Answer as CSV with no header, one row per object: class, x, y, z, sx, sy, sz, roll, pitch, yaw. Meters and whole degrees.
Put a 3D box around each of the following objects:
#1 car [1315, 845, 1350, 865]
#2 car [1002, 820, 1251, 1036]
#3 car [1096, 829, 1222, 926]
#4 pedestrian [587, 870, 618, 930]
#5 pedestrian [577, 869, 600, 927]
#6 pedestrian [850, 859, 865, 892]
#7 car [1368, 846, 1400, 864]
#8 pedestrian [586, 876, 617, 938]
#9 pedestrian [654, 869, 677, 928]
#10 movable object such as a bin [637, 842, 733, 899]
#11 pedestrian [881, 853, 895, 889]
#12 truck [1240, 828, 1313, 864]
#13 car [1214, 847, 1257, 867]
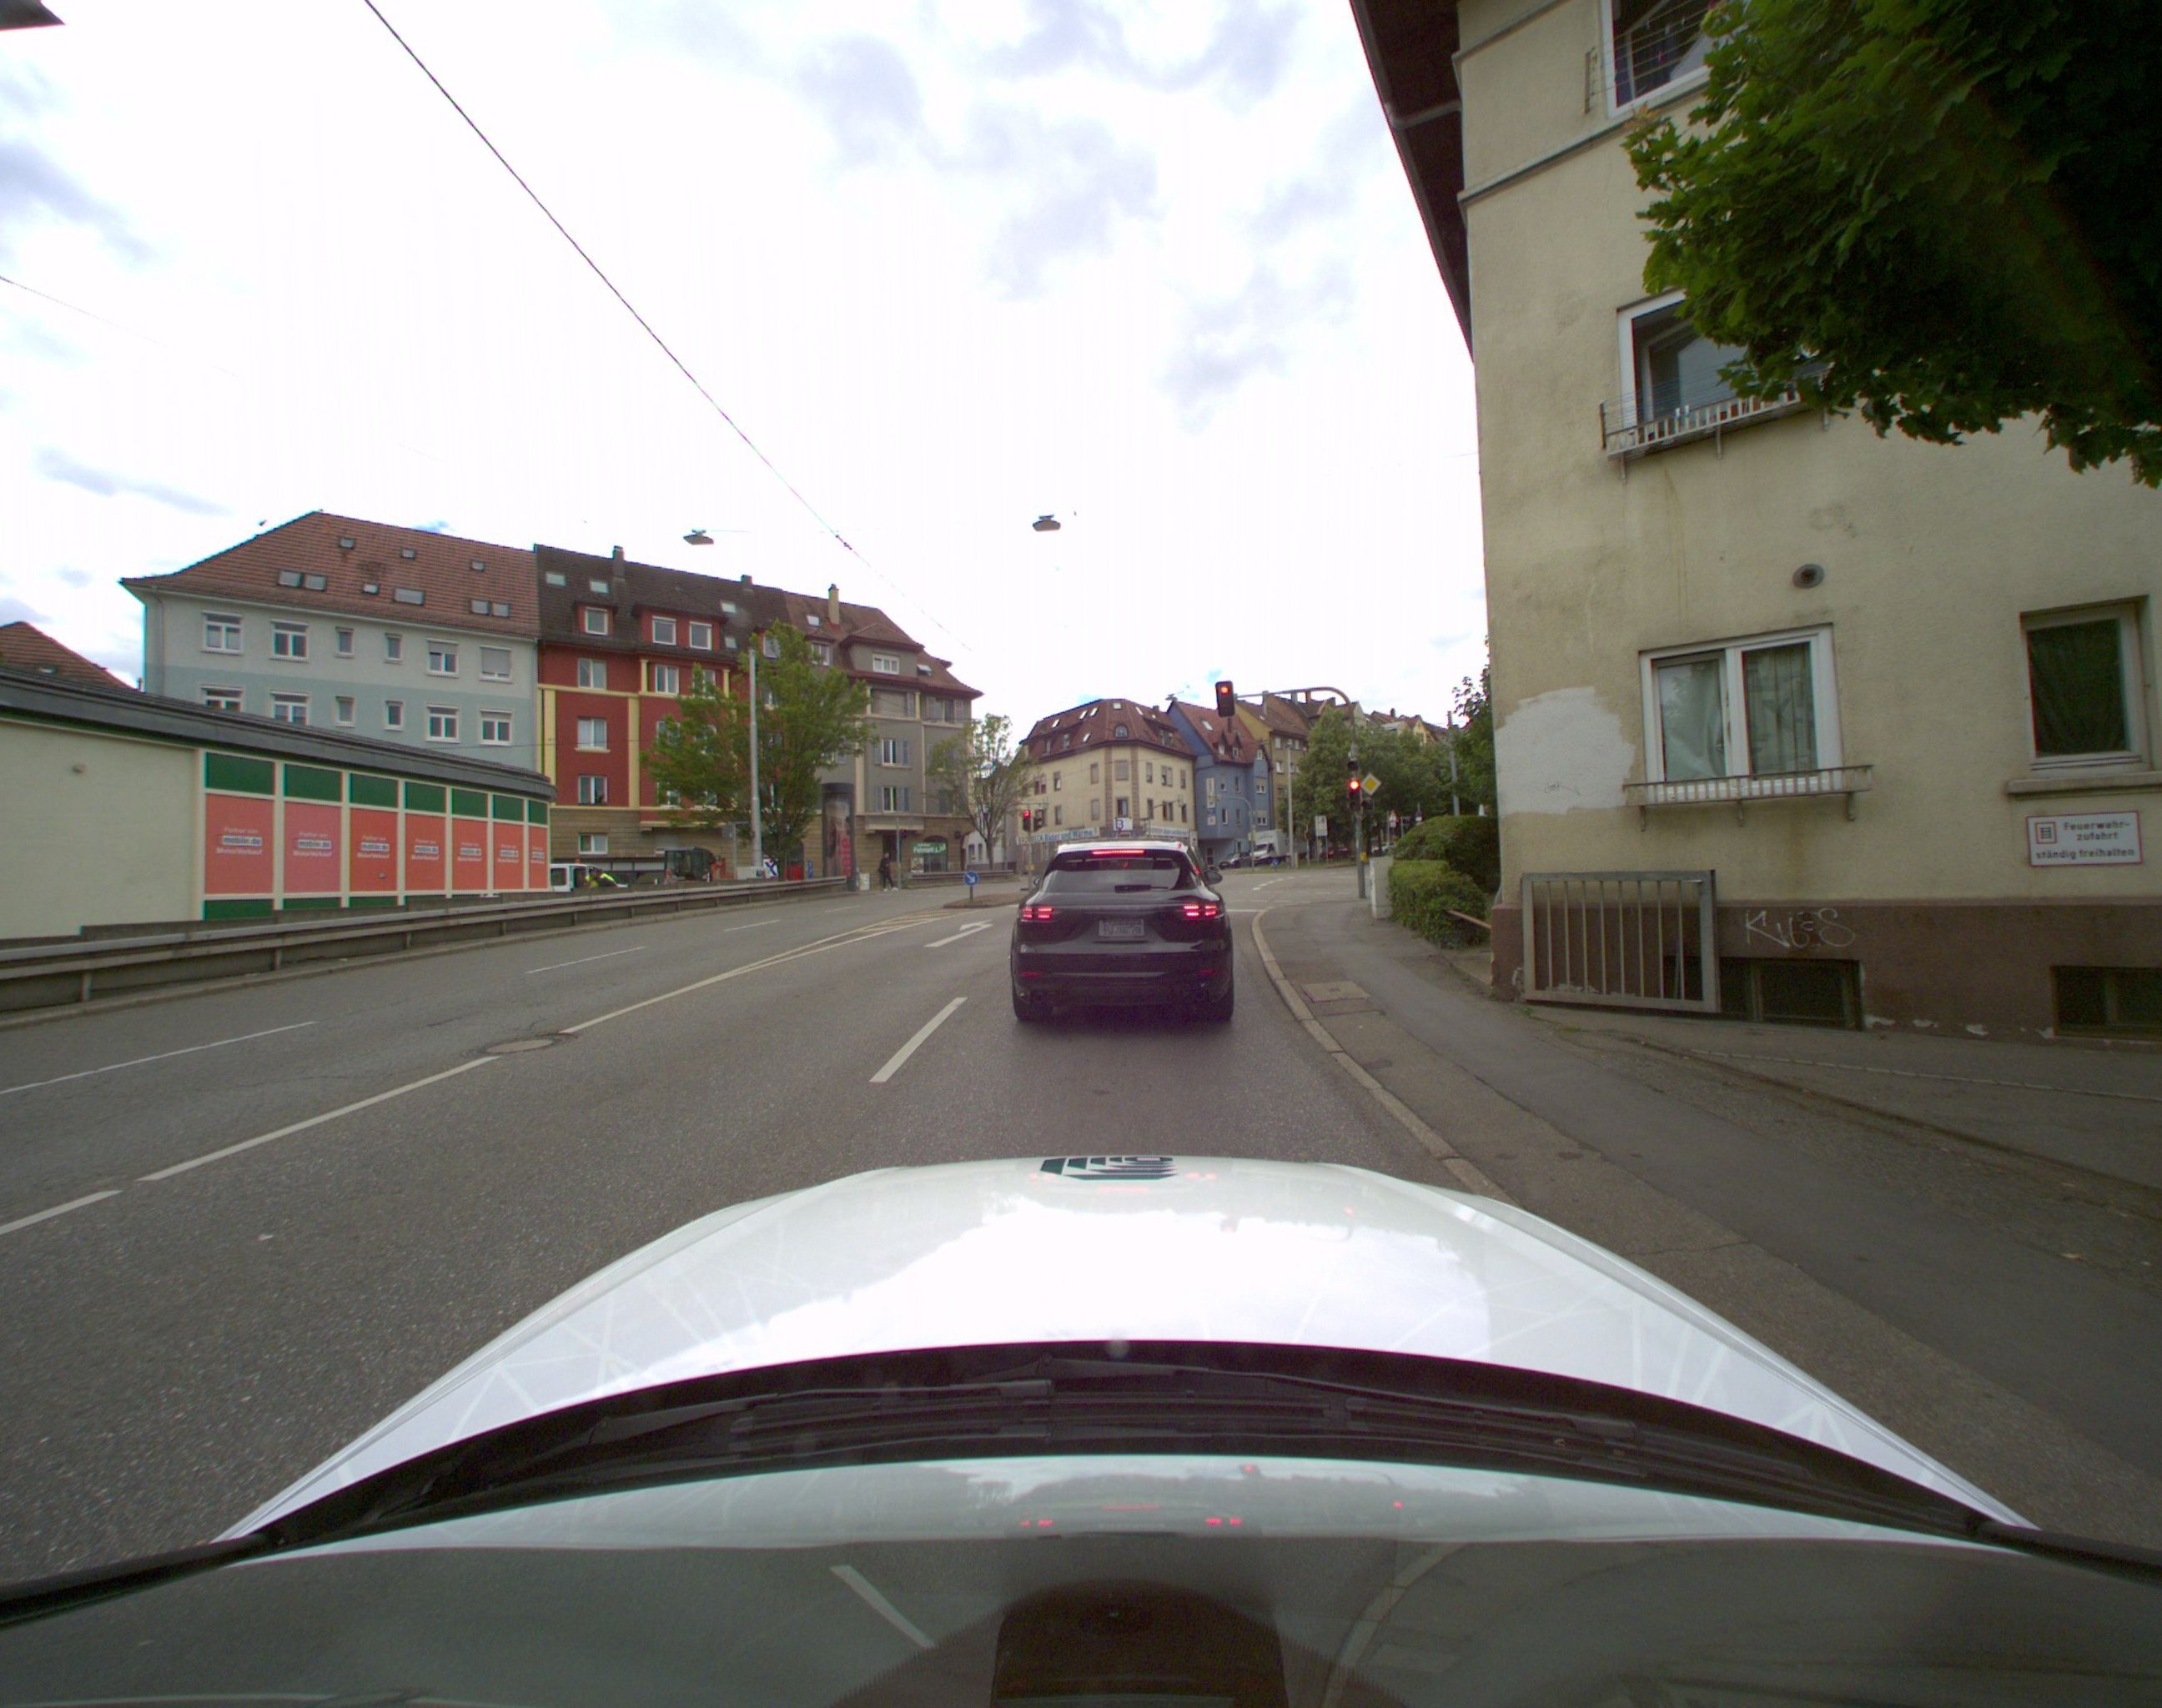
car,26.914,0.102,87.057,4.023,2.014,1.975,1,-1,-45
car,0.348,0.570,8.537,1.972,1.684,3.999,-1,1,-1
car,1.699,0.422,16.286,1.980,1.684,4.014,-1,0,13
pedestrian,-14.259,1.357,24.271,0.565,1.761,0.622,0,-1,37
pedestrian,-15.074,1.323,24.916,0.479,1.730,0.537,1,-1,-44
pedestrian,-10.913,1.053,39.749,0.587,1.567,0.486,1,-1,1
car,35.670,0.096,95.794,4.023,2.014,1.975,1,-1,-45
pedestrian,-13.561,1.490,23.041,0.562,1.700,0.541,1,-1,-9
pedestrian,-12.443,1.325,24.399,0.545,1.730,0.587,1,-1,-32
movable object such as a bin,-13.257,0.528,27.526,1.903,1.771,3.985,1,0,-11
pedestrian,-9.201,0.802,38.913,0.511,1.730,0.451,1,-1,4
truck,19.161,-0.696,79.369,2.846,3.340,8.846,0,0,44
car,13.800,0.243,72.698,1.974,1.684,4.025,-2,-1,40
